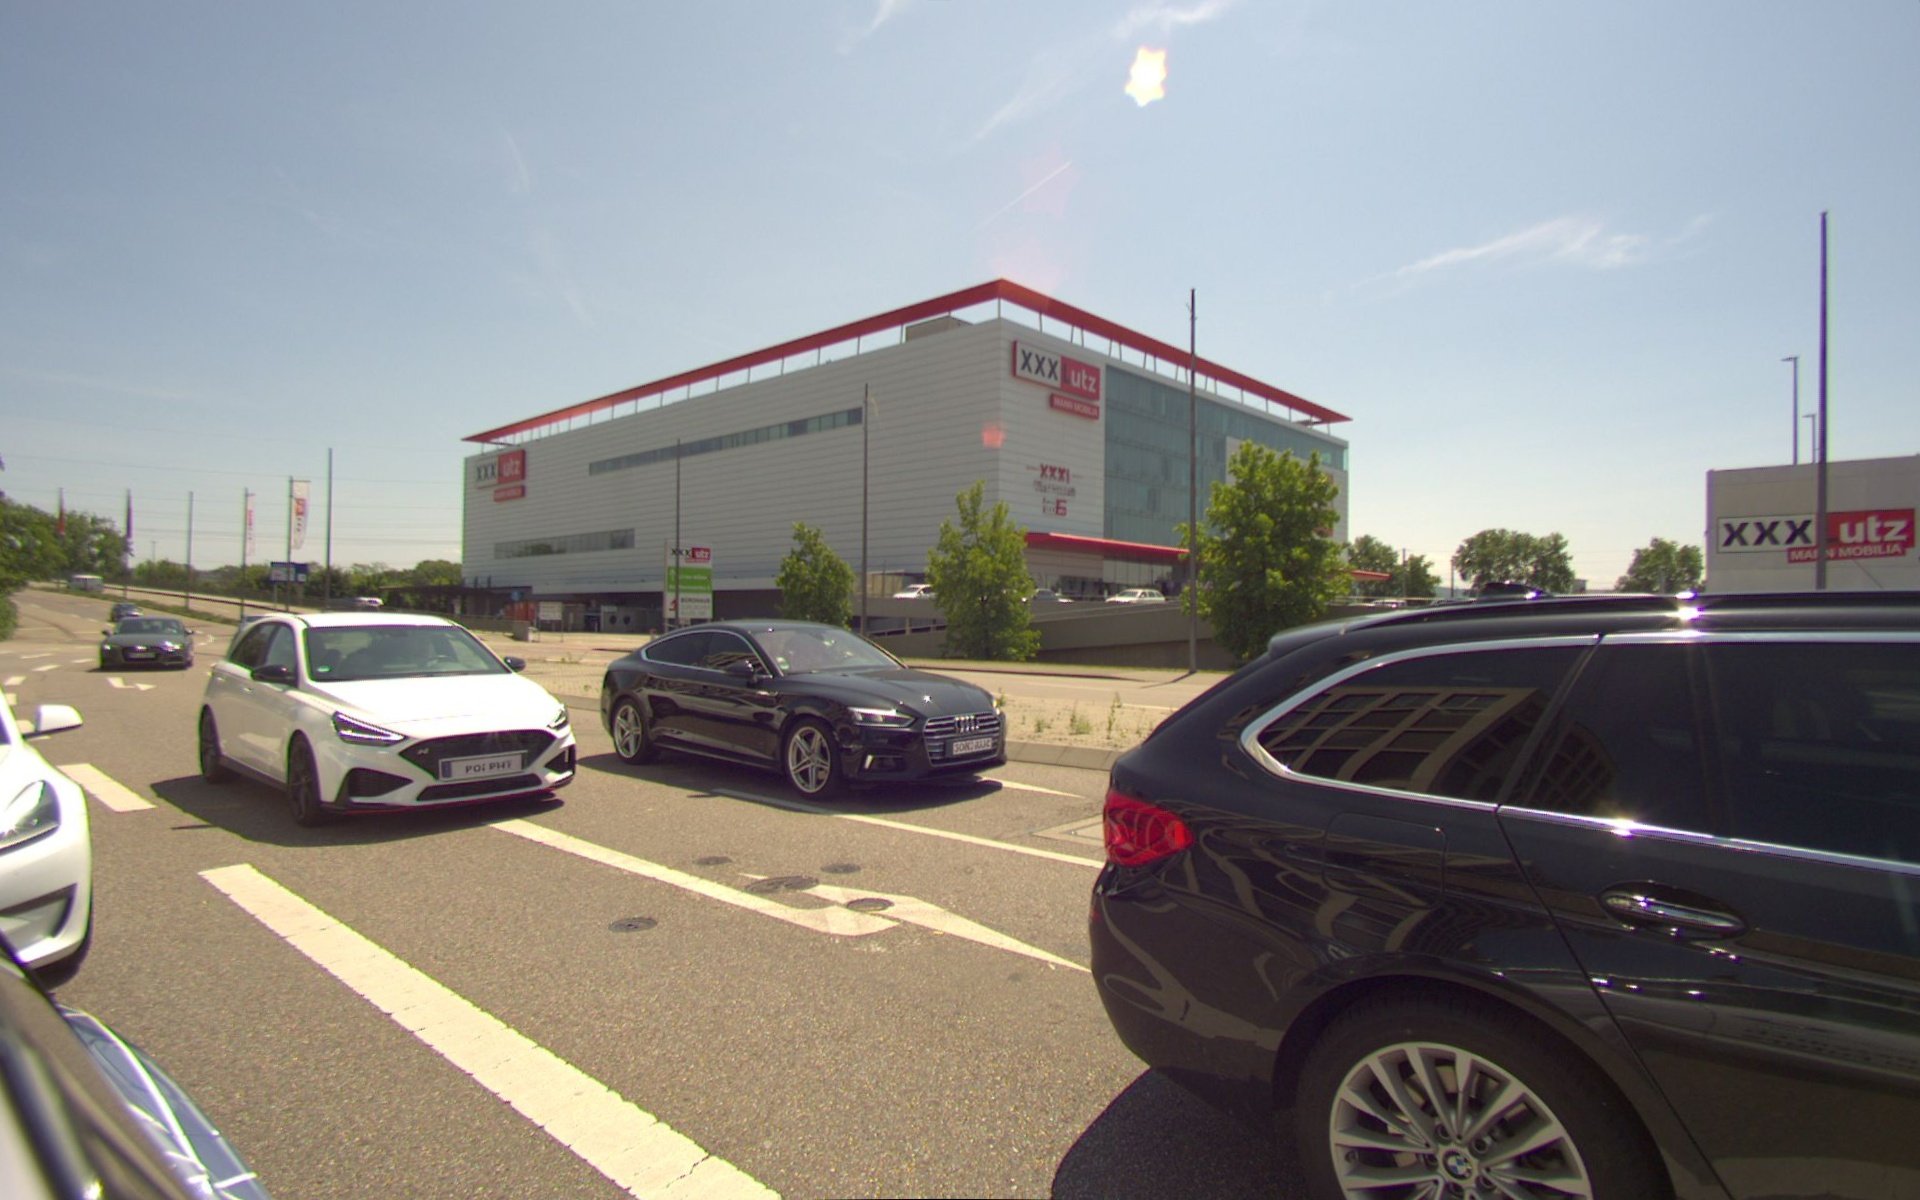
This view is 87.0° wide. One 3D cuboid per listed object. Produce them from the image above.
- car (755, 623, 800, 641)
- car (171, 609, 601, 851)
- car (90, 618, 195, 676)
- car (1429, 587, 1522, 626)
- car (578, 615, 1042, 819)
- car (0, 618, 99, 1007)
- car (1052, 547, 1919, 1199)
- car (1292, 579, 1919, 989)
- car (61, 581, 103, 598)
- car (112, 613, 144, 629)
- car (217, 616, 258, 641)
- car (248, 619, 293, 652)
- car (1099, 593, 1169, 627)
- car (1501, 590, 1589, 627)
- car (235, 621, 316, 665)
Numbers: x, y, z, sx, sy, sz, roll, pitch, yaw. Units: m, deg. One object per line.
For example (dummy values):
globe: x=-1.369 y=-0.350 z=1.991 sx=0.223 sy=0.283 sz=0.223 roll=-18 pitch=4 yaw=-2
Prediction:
car: x=-16.777 y=2.928 z=93.201 sx=1.911 sy=1.632 sz=3.698 roll=0 pitch=-2 yaw=41
car: x=-4.791 y=0.842 z=8.179 sx=4.228 sy=1.461 sz=1.712 roll=-1 pitch=-2 yaw=41
car: x=-21.644 y=1.197 z=26.728 sx=1.776 sy=1.388 sz=4.410 roll=2 pitch=-2 yaw=-43
car: x=27.009 y=0.347 z=53.098 sx=3.998 sy=1.946 sz=1.973 roll=-1 pitch=-2 yaw=41
car: x=-1.571 y=0.869 z=9.187 sx=4.533 sy=1.401 sz=1.729 roll=-2 pitch=-2 yaw=43
car: x=-5.668 y=0.826 z=4.644 sx=4.401 sy=1.436 sz=1.857 roll=-1 pitch=-1 yaw=39
car: x=2.558 y=0.650 z=1.691 sx=4.620 sy=1.477 sz=1.781 roll=-1 pitch=-1 yaw=40
car: x=3.796 y=0.687 z=4.636 sx=3.991 sy=1.505 sz=1.782 roll=-1 pitch=-1 yaw=36
car: x=-98.953 y=-1.160 z=114.028 sx=4.814 sy=1.864 sz=1.820 roll=0 pitch=-2 yaw=26
car: x=-67.495 y=1.667 z=82.063 sx=3.351 sy=1.198 sz=1.456 roll=0 pitch=1 yaw=41
car: x=-51.036 y=2.002 z=71.466 sx=1.811 sy=1.674 sz=4.003 roll=2 pitch=-2 yaw=-44
car: x=-34.433 y=1.729 z=50.512 sx=1.653 sy=1.587 sz=4.066 roll=1 pitch=-1 yaw=-37
car: x=9.926 y=0.586 z=57.571 sx=2.001 sy=1.781 sz=4.140 roll=0 pitch=-2 yaw=44
car: x=32.368 y=0.497 z=56.044 sx=3.996 sy=1.923 sz=1.974 roll=-1 pitch=-2 yaw=39
car: x=-23.733 y=1.459 z=35.022 sx=1.775 sy=1.424 sz=4.412 roll=2 pitch=-2 yaw=-41
